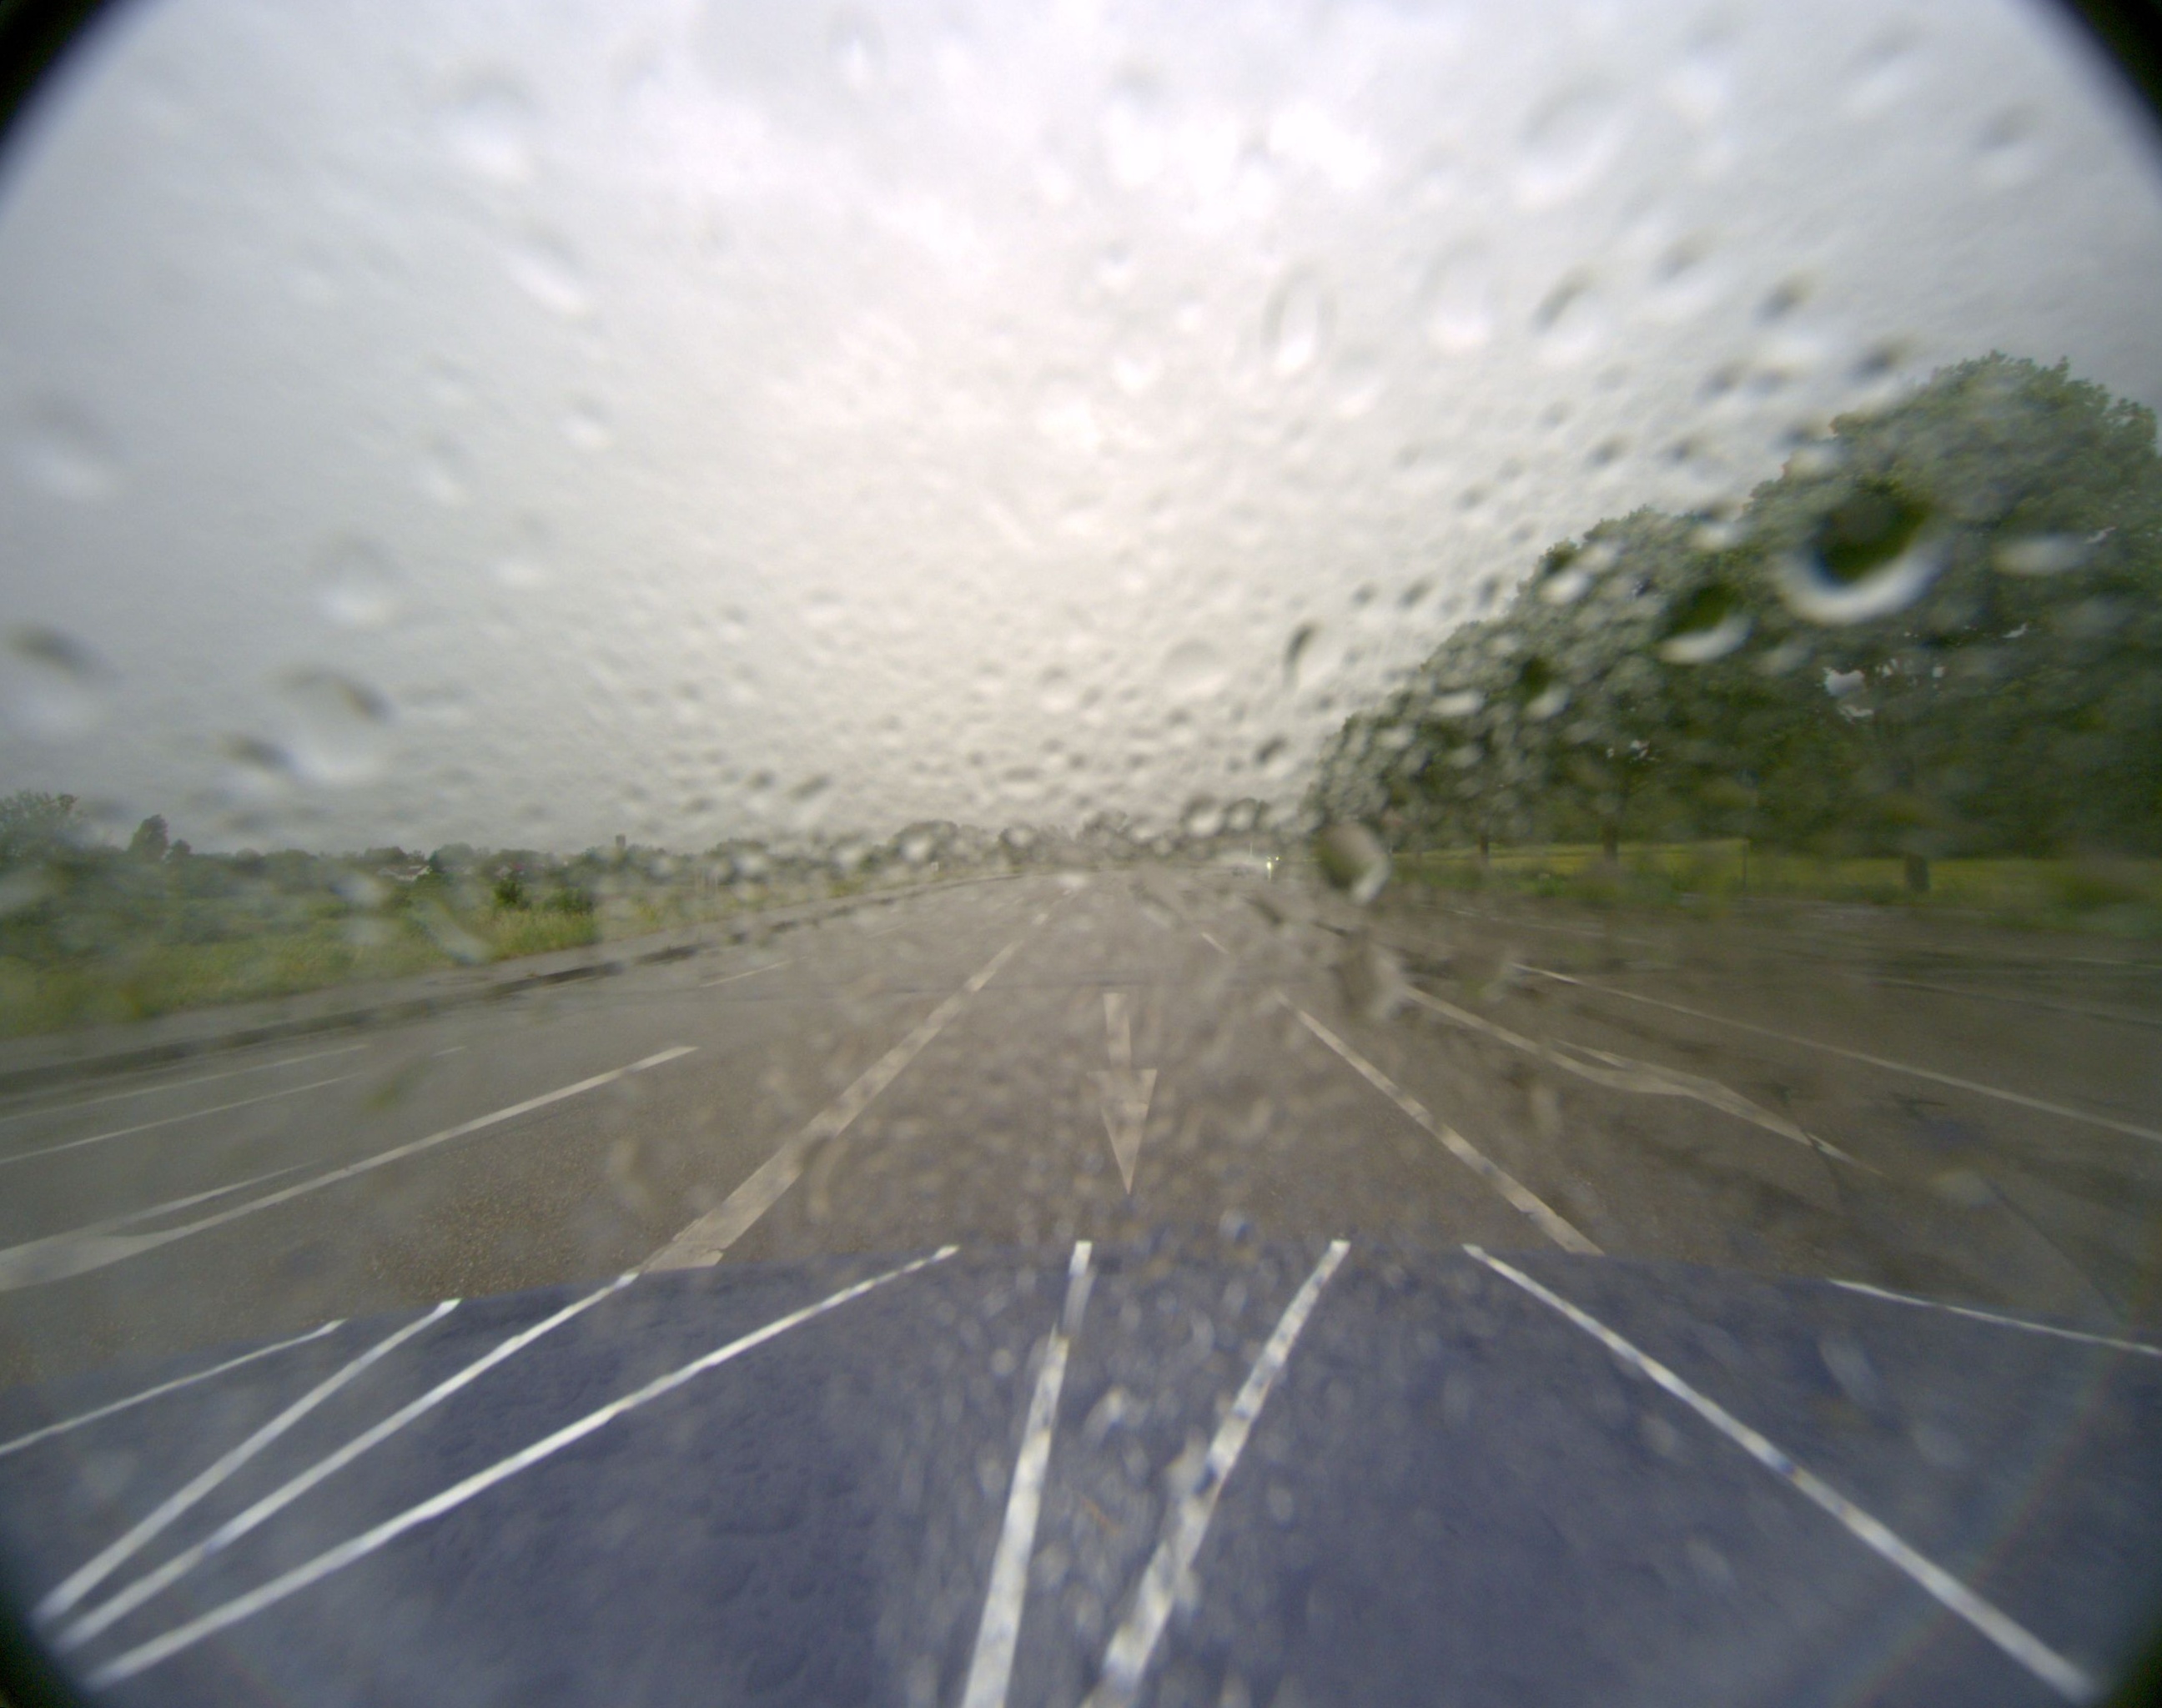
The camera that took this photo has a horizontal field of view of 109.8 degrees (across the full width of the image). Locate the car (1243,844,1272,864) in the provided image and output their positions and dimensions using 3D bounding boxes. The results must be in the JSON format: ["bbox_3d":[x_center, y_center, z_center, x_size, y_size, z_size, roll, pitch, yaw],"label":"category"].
[{"bbox_3d":[17.477,-0.040,74.921,2.108,1.881,4.797,-1,0,21],"label":"car"}]

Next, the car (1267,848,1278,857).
[{"bbox_3d":[36.929,-0.259,146.618,1.914,1.576,4.106,-2,1,12],"label":"car"}]
